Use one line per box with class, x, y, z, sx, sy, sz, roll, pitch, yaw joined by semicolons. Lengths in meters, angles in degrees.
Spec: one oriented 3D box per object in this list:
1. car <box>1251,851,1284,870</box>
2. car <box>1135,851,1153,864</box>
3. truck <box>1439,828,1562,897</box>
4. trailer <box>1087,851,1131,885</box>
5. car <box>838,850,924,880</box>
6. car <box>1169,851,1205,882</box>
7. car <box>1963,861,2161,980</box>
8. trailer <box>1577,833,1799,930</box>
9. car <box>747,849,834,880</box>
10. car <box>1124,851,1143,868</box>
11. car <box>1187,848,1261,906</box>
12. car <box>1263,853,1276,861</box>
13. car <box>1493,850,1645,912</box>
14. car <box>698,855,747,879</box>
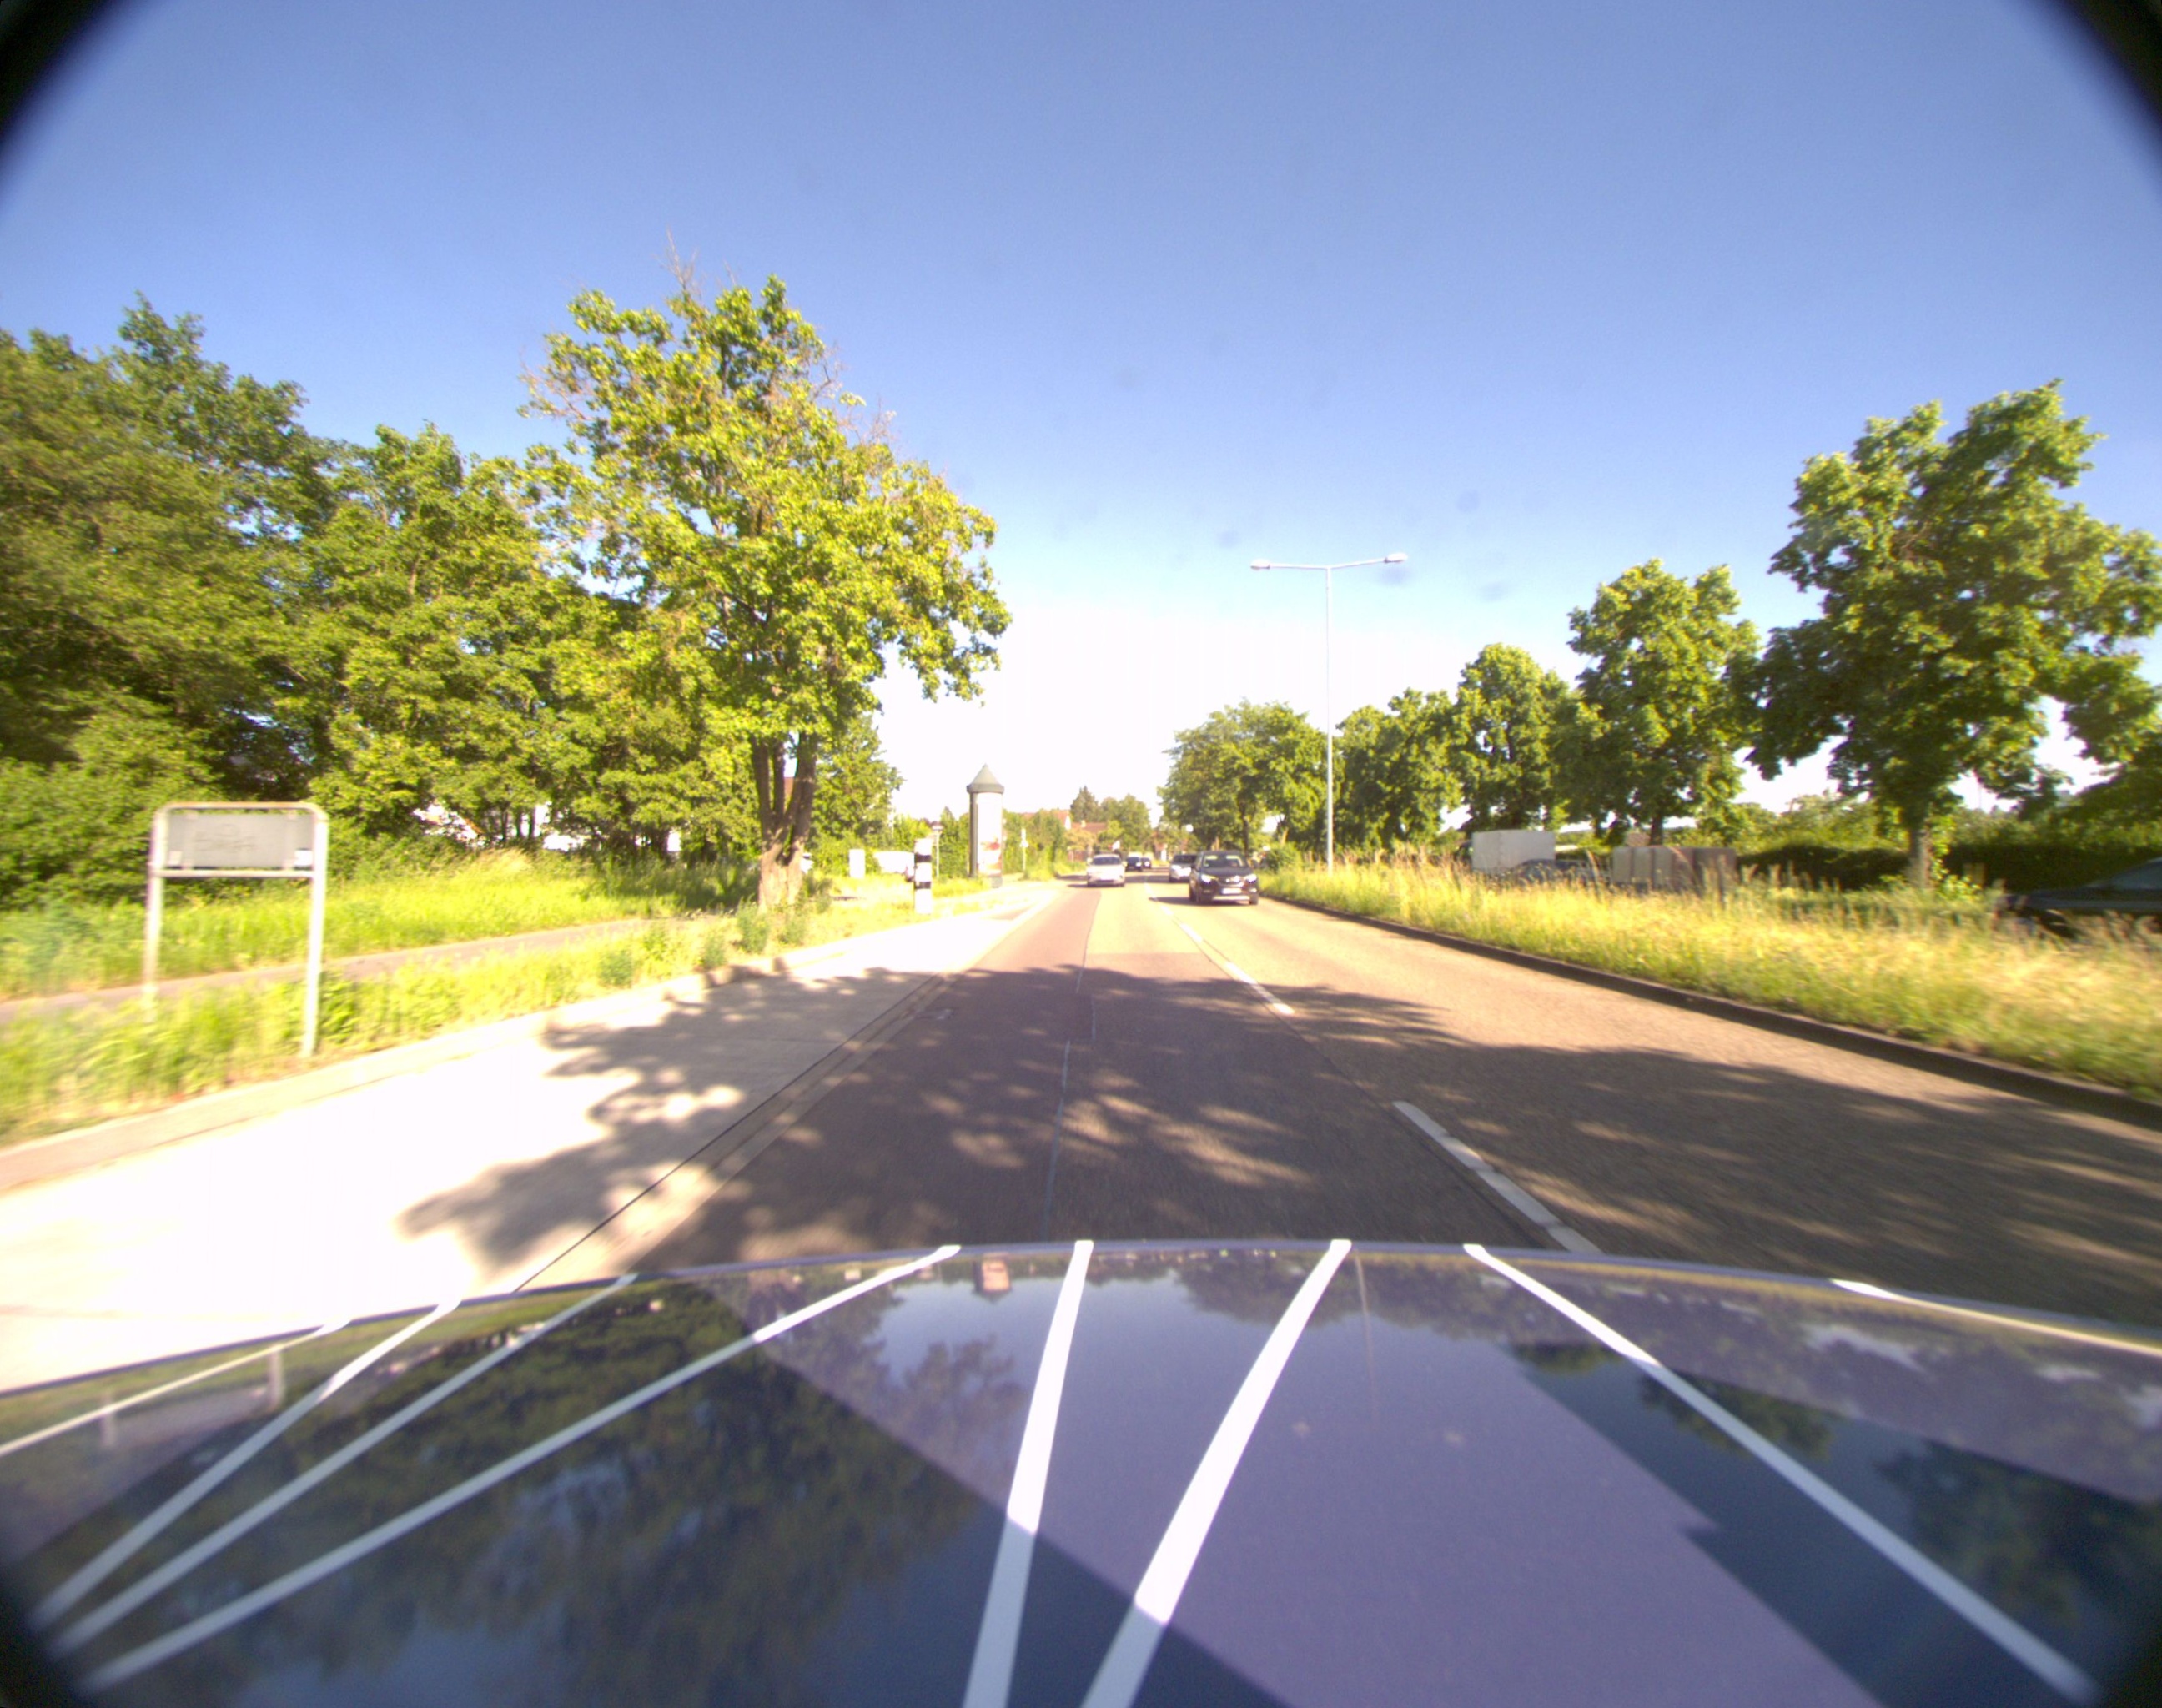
car;16.772;0.570;68.638;1.860;1.596;5.576;1;0;3
car;7.896;0.427;94.873;1.822;1.587;4.276;-1;0;11
truck;17.066;0.309;31.341;2.177;2.498;5.744;2;0;4
trailer;1.452;0.701;38.251;1.896;1.585;4.002;-1;0;6
car;-12.168;0.691;46.363;4.639;1.790;1.934;0;-1;8
car;5.814;0.648;41.652;1.822;1.553;4.649;-1;0;8
car;15.743;0.925;10.525;1.754;1.611;4.578;0;0;0
trailer;13.278;0.531;17.021;1.566;1.899;4.282;0;0;0
car;-17.921;0.642;46.972;4.526;1.857;2.073;0;-1;8
car;5.117;0.535;74.420;1.823;1.553;4.273;0;1;3
car;4.381;0.648;23.846;1.810;1.605;4.515;0;1;5
car;35.449;0.627;142.465;1.694;1.428;4.948;2;1;21
car;13.404;0.673;21.179;1.699;1.573;4.025;0;0;1
car;-22.575;0.814;47.914;2.350;1.480;1.542;0;-1;8
